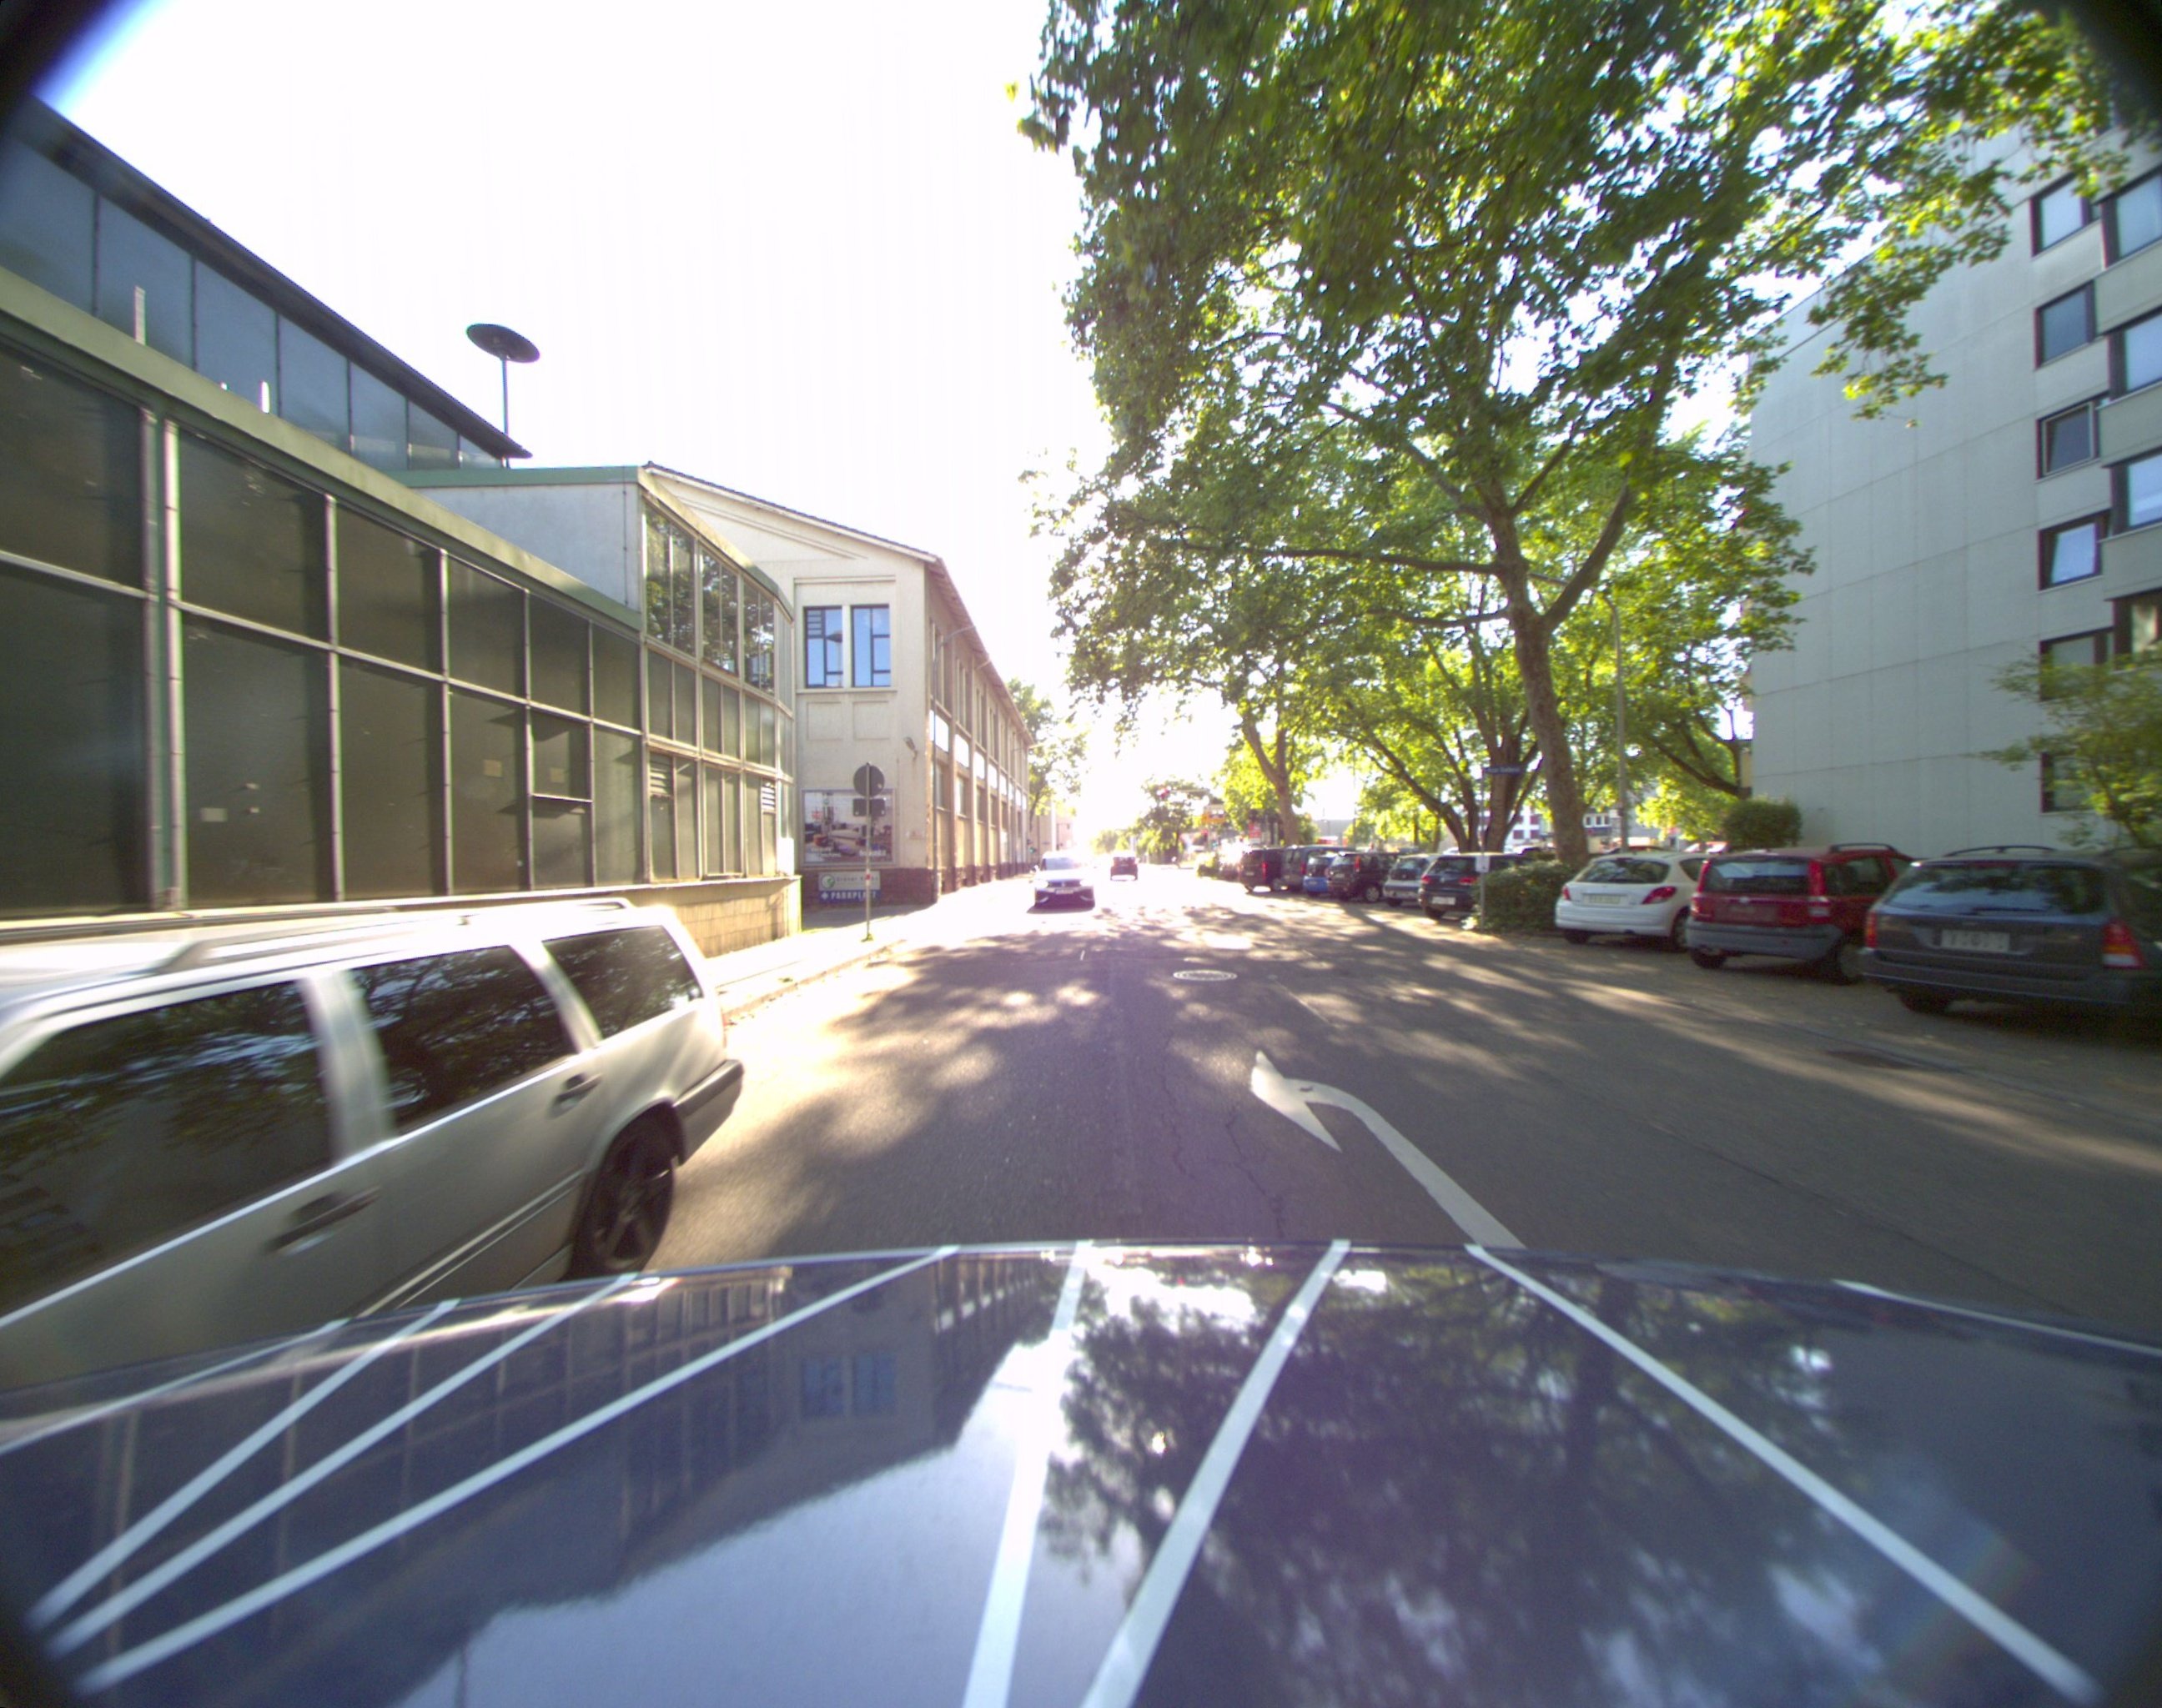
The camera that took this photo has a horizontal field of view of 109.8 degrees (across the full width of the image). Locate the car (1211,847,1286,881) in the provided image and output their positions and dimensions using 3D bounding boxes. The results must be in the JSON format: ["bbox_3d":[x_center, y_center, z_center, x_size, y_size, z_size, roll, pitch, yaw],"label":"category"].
[{"bbox_3d":[9.320,0.539,42.243,4.006,1.633,1.713,-3,1,-33],"label":"car"}]

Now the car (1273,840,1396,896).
[{"bbox_3d":[9.551,0.498,28.690,4.002,1.871,1.831,-3,1,-15],"label":"car"}]

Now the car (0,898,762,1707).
[{"bbox_3d":[-2.527,1.027,1.457,1.905,1.485,4.528,-3,1,-1],"label":"car"}]

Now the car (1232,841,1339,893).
[{"bbox_3d":[8.425,0.512,31.260,4.004,1.875,1.713,-3,1,-25],"label":"car"}]

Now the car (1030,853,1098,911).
[{"bbox_3d":[-0.513,0.795,23.738,1.854,1.527,3.856,-4,1,-1],"label":"car"}]

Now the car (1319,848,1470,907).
[{"bbox_3d":[9.663,0.688,23.497,4.001,1.615,1.796,-2,1,-13],"label":"car"}]

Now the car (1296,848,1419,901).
[{"bbox_3d":[9.380,0.649,25.844,3.602,1.552,1.648,-3,1,-17],"label":"car"}]

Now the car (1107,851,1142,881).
[{"bbox_3d":[2.606,0.711,46.486,1.965,1.633,4.000,-3,1,1],"label":"car"}]

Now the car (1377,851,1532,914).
[{"bbox_3d":[10.205,0.732,20.802,3.653,1.453,1.703,-3,1,-19],"label":"car"}]

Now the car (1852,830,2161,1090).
[{"bbox_3d":[8.766,0.679,6.403,3.652,1.652,1.648,-3,1,-17],"label":"car"}]

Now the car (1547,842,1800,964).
[{"bbox_3d":[9.473,0.681,12.132,3.654,1.552,1.706,-3,1,-26],"label":"car"}]

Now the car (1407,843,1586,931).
[{"bbox_3d":[9.361,0.678,17.104,3.654,1.652,1.647,-3,1,-25],"label":"car"}]

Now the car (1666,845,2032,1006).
[{"bbox_3d":[9.439,0.755,9.398,3.652,1.552,1.648,-3,1,-17],"label":"car"}]
